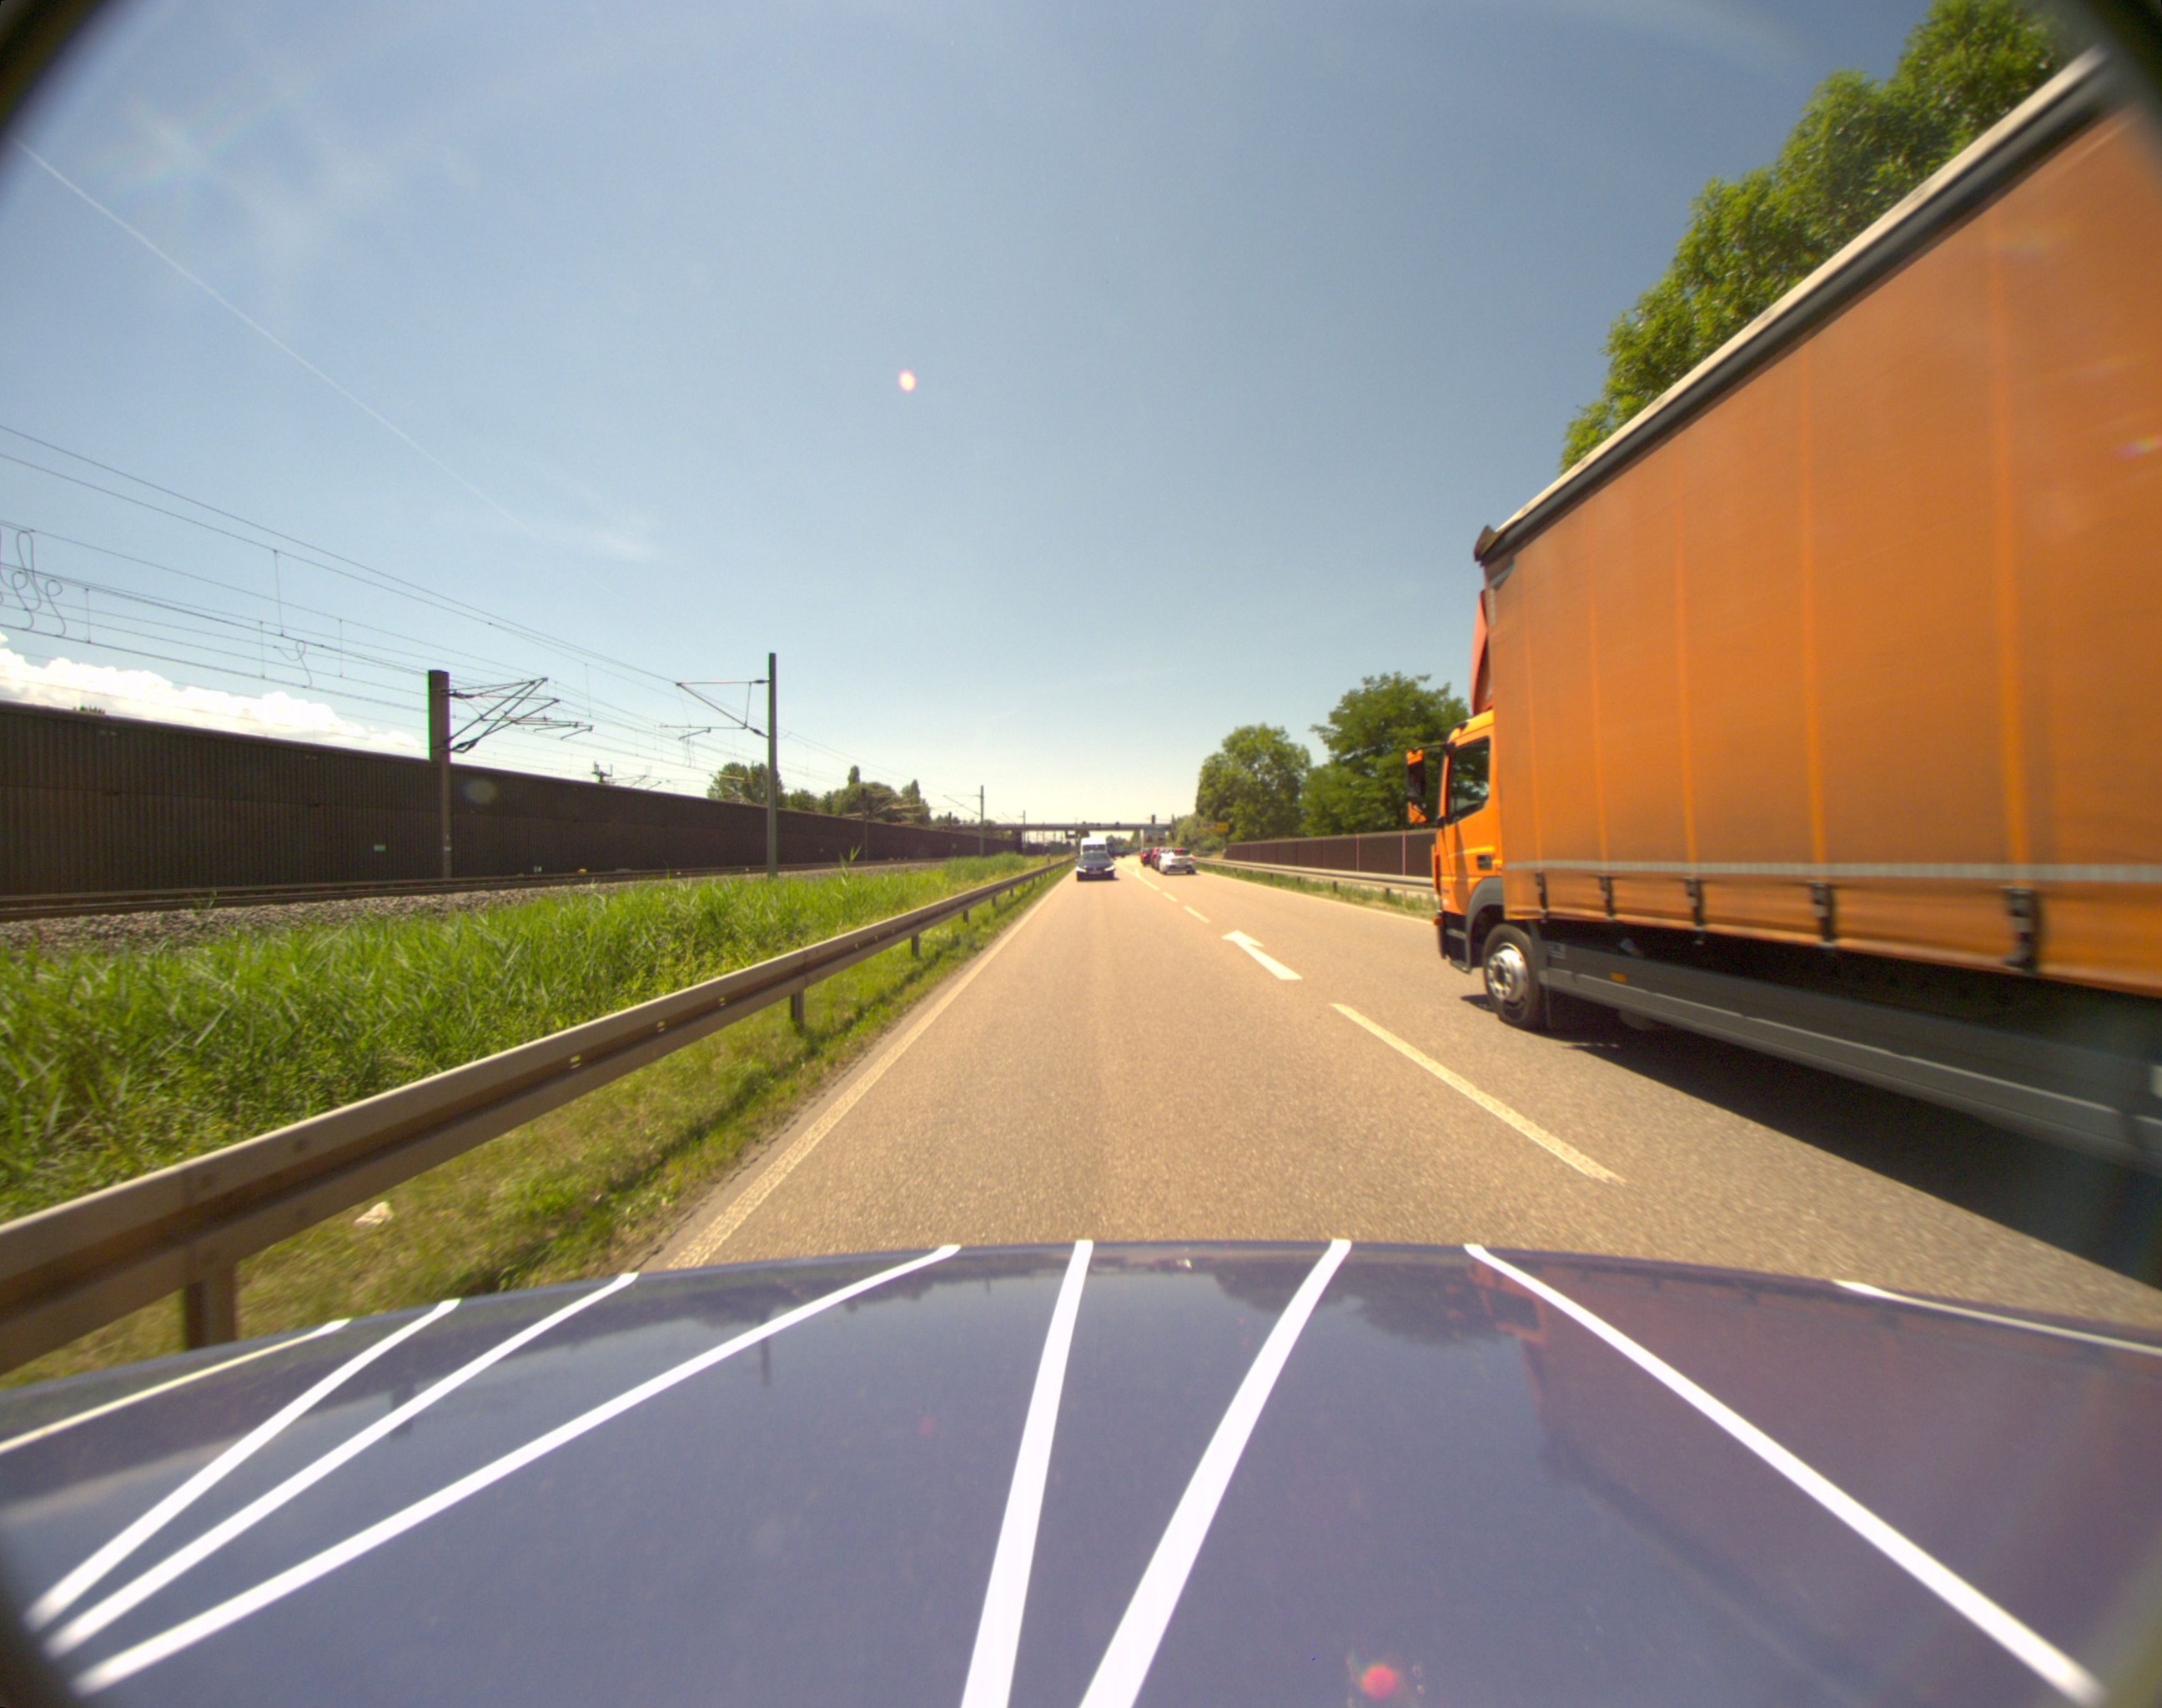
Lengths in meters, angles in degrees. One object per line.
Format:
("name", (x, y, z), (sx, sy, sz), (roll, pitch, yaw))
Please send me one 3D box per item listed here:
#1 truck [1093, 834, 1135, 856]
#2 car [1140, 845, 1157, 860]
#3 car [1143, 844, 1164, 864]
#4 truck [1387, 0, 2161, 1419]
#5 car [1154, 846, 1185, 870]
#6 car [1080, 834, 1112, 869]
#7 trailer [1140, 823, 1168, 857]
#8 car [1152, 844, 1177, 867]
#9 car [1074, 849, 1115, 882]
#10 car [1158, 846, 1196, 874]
("truck", (5.217, -1.402, 116.887), (2.688, 3.177, 9.193), (0, 1, 29))
("car", (7.045, -0.151, 79.062), (1.627, 1.529, 4.385), (0, 1, 6))
("car", (6.254, -0.021, 65.551), (1.720, 1.580, 4.536), (-2, 0, 5))
("truck", (4.301, -0.421, 2.632), (2.799, 3.818, 9.322), (-2, 1, 1))
("car", (5.730, 0.207, 49.526), (1.689, 1.451, 4.616), (-2, 1, 4))
("car", (1.200, -0.172, 57.309), (2.227, 2.480, 5.983), (-1, 0, 3))
("trailer", (9.334, -1.804, 98.520), (2.695, 4.022, 14.125), (-2, 1, 3))
("car", (6.254, 0.068, 57.188), (1.759, 1.622, 4.280), (-2, 0, 4))
("car", (0.705, 0.512, 36.608), (1.847, 1.415, 4.562), (-2, 1, 2))
("car", (5.301, 0.285, 42.387), (1.689, 1.451, 4.616), (-2, 1, 2))
